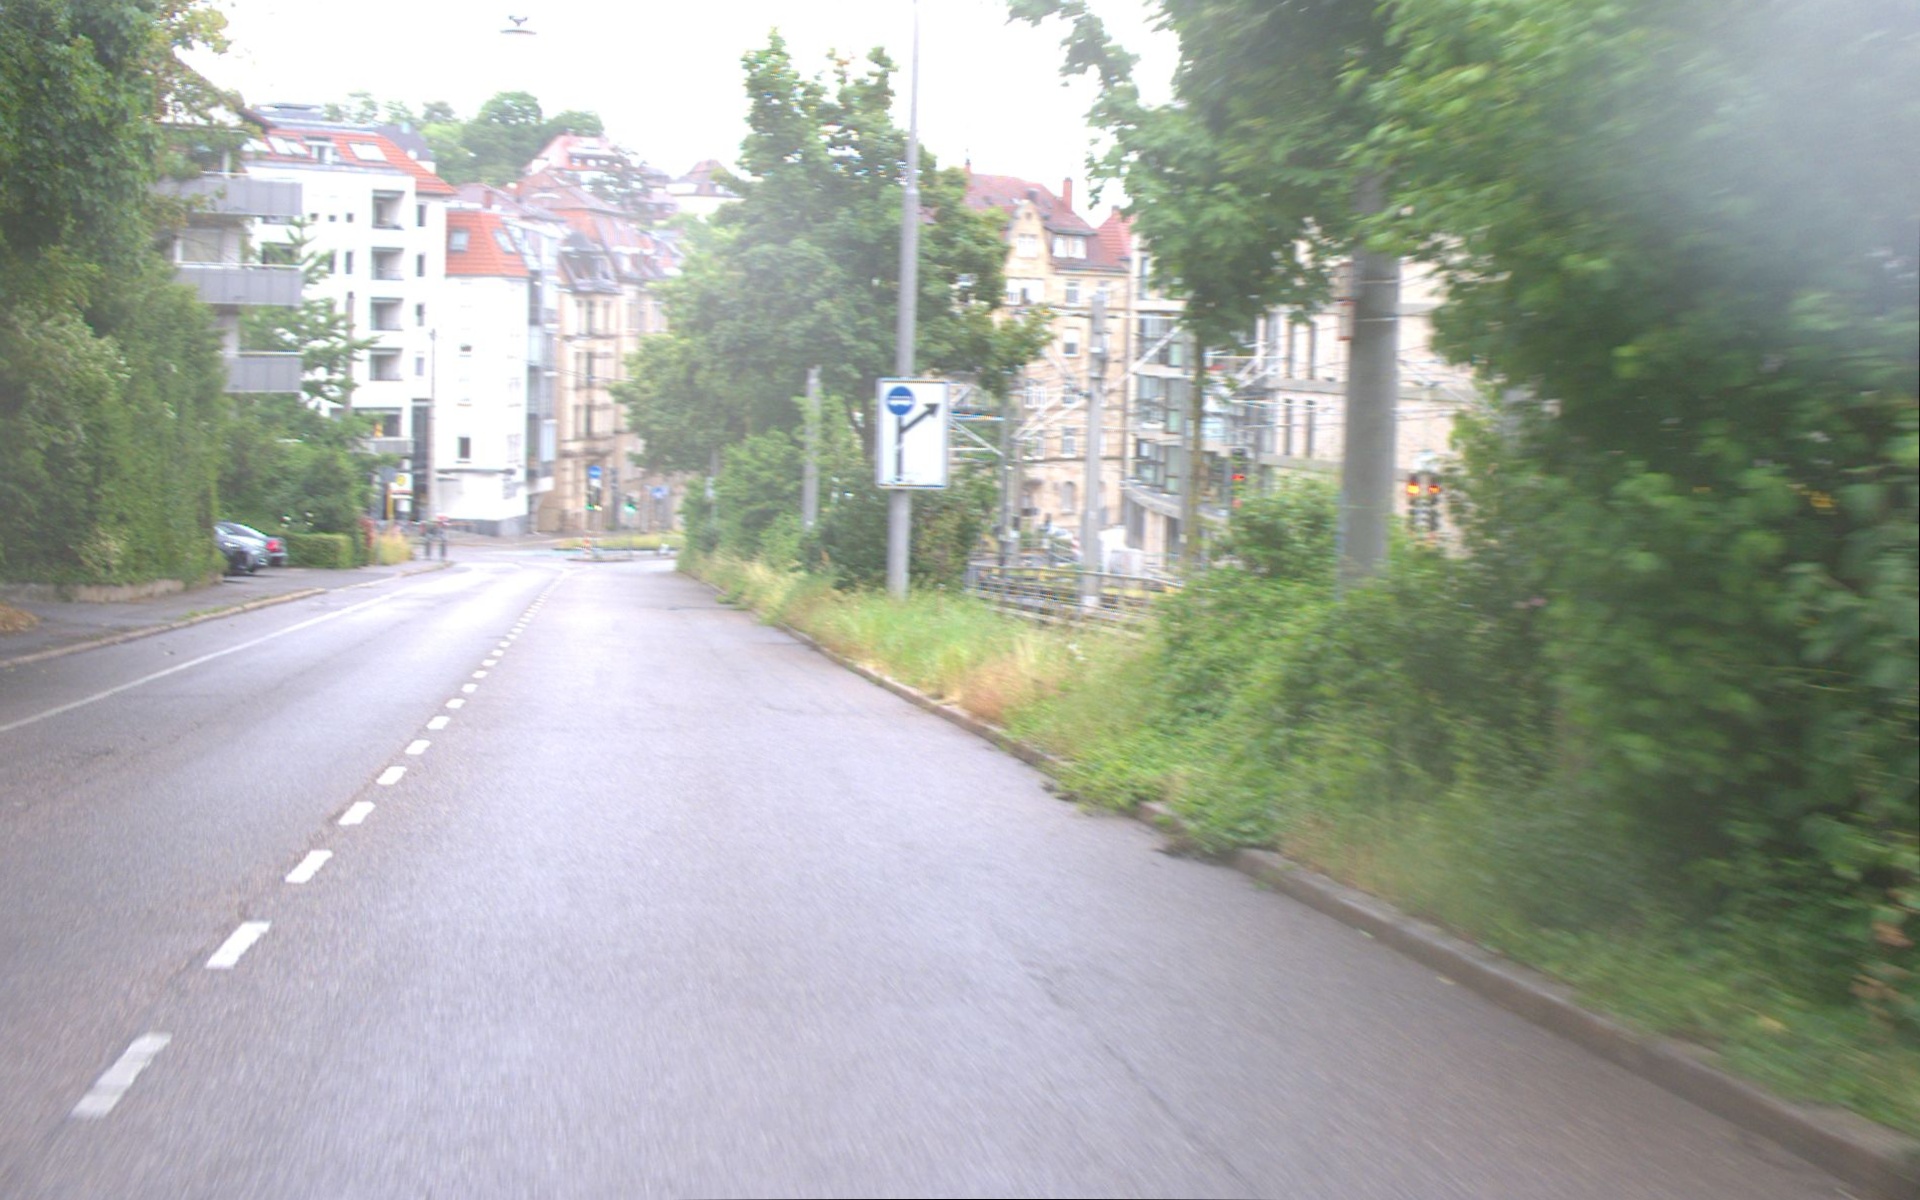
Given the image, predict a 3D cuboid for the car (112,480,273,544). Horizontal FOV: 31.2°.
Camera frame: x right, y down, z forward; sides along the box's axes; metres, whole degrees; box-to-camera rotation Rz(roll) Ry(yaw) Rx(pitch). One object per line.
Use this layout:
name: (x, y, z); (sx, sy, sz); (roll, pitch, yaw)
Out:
car: (-20.032, -2.296, 89.894); (3.986, 1.554, 1.881); (1, 1, -10)

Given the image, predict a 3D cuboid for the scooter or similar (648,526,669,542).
scooter or similar: (-14.612, -3.202, 166.663); (0.485, 0.759, 1.328); (1, 1, 22)

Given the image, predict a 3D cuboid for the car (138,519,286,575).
car: (-20.047, -1.418, 92.285); (3.630, 1.402, 1.784); (1, 1, -4)

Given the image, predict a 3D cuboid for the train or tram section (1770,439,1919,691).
train or tram section: (16.947, -0.431, 50.878); (3.330, 3.933, 19.286); (1, 1, -6)

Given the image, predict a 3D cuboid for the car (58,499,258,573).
car: (-19.137, -1.527, 82.181); (4.448, 1.597, 1.815); (1, 3, -6)
